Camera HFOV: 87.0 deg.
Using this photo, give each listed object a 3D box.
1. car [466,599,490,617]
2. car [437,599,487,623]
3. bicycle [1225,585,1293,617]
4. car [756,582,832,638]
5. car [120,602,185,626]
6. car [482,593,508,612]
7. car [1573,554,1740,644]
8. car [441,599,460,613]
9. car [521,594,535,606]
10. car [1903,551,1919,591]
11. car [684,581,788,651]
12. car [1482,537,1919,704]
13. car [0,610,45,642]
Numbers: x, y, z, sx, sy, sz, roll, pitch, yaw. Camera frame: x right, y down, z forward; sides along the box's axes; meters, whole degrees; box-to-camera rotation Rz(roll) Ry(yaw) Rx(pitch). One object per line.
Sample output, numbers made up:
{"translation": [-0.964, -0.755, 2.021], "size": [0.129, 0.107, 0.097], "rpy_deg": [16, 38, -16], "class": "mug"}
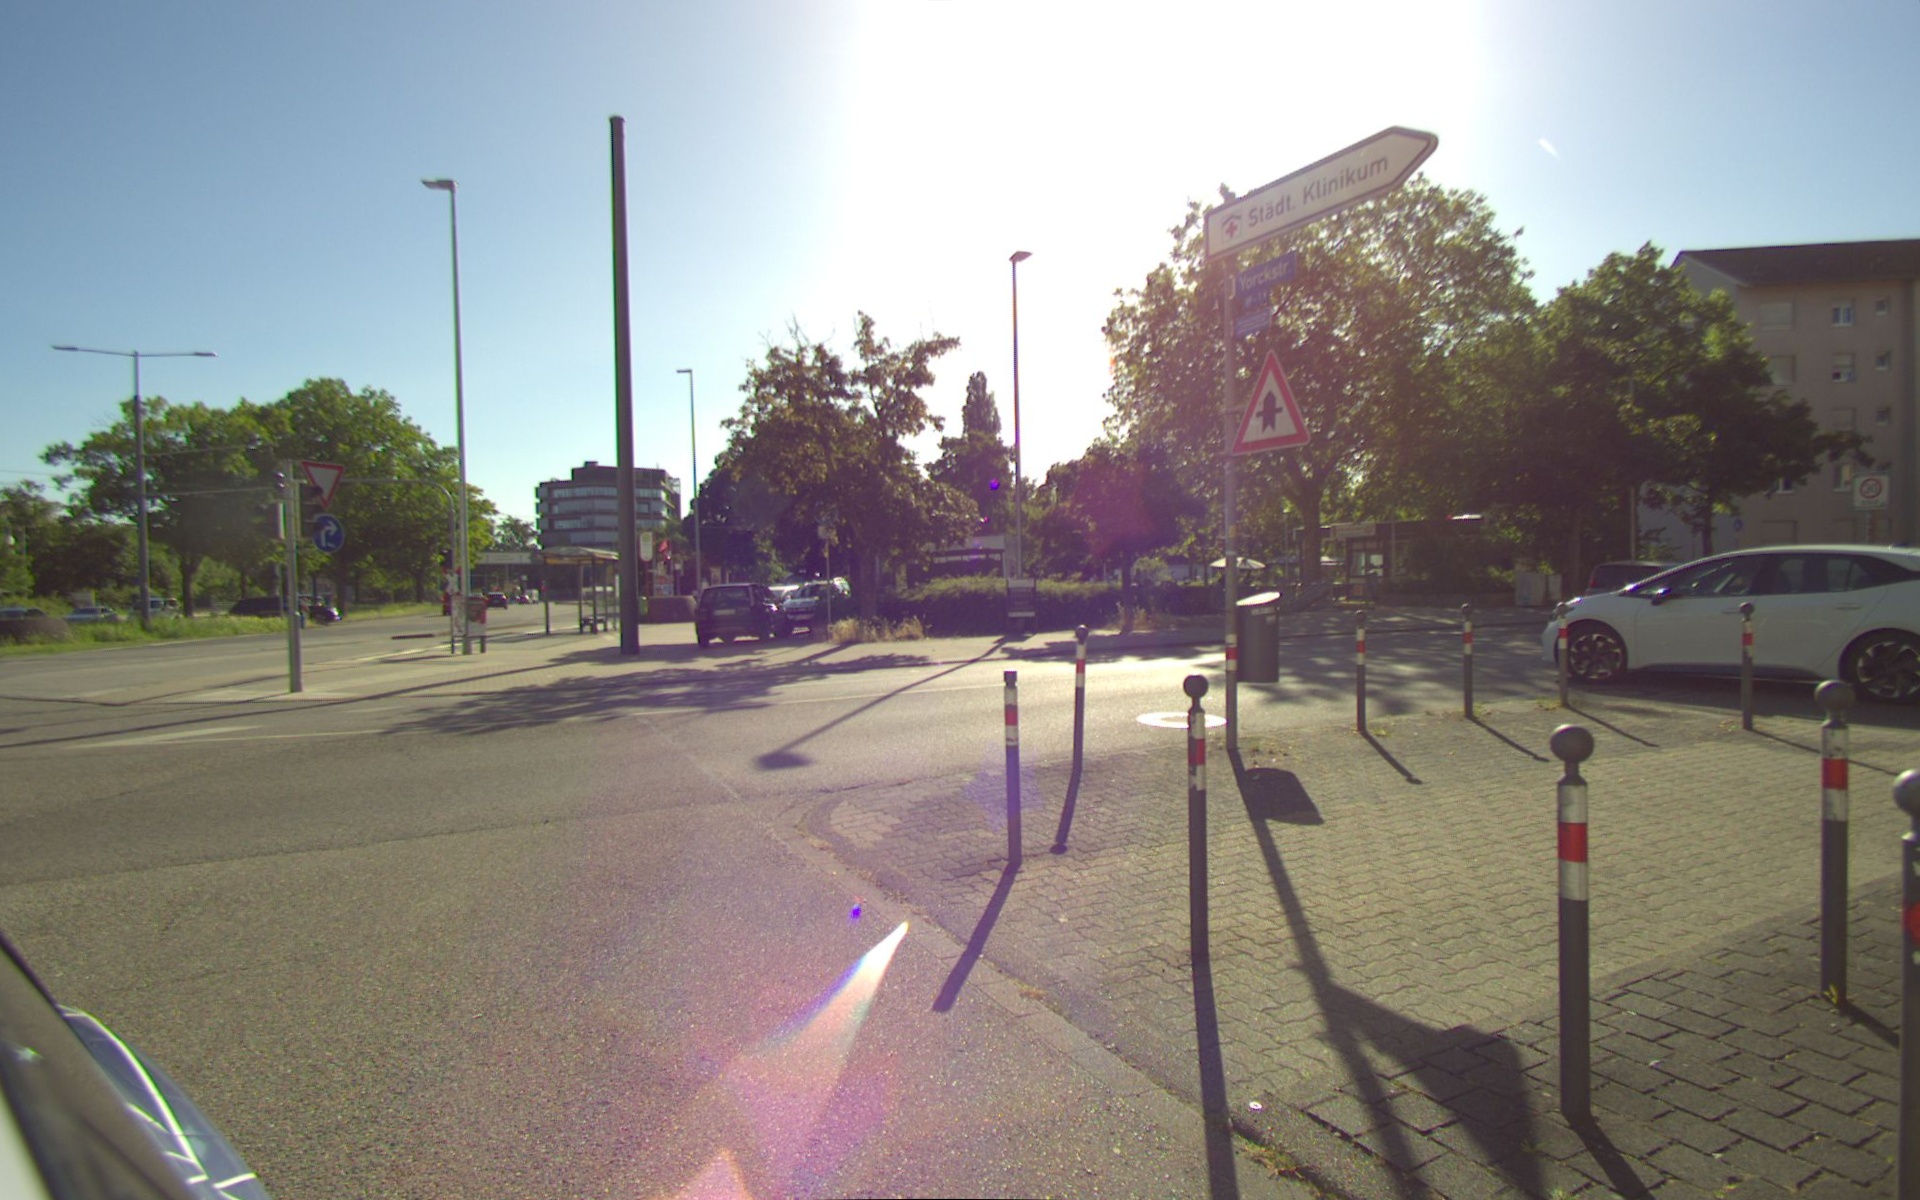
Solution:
{"translation": [-46.168, 0.733, 97.039], "size": [1.965, 1.674, 4.500], "rpy_deg": [-2, 1, -25], "class": "car"}
{"translation": [-34.253, 0.738, 69.738], "size": [1.967, 1.564, 4.496], "rpy_deg": [-2, 1, -12], "class": "car"}
{"translation": [9.547, 0.028, 32.389], "size": [0.548, 0.990, 2.319], "rpy_deg": [-1, 1, -31], "class": "bicycle"}
{"translation": [-5.132, 0.277, 31.731], "size": [1.774, 1.591, 4.001], "rpy_deg": [-1, 1, -1], "class": "car"}
{"translation": [-52.143, 0.876, 65.443], "size": [1.842, 1.466, 4.499], "rpy_deg": [-2, 1, -19], "class": "car"}
{"translation": [-40.236, 0.196, 87.612], "size": [1.965, 1.564, 4.500], "rpy_deg": [-2, 1, -25], "class": "car"}
{"translation": [13.454, -0.052, 19.514], "size": [3.204, 1.573, 1.625], "rpy_deg": [-2, 1, -35], "class": "car"}
{"translation": [-66.629, 0.787, 132.357], "size": [1.966, 1.674, 4.498], "rpy_deg": [-2, 1, -30], "class": "car"}
{"translation": [-75.493, 0.052, 176.766], "size": [1.965, 2.029, 4.013], "rpy_deg": [-1, 1, -26], "class": "car"}
{"translation": [44.817, -1.323, 45.006], "size": [2.044, 1.811, 4.415], "rpy_deg": [-1, 1, 8], "class": "car"}
{"translation": [-5.487, 0.334, 25.215], "size": [1.661, 1.519, 3.595], "rpy_deg": [-4, 1, 1], "class": "car"}
{"translation": [8.765, 0.155, 11.231], "size": [1.891, 1.530, 5.053], "rpy_deg": [-2, 1, -29], "class": "car"}
{"translation": [-46.108, 1.248, 48.409], "size": [1.842, 1.466, 4.499], "rpy_deg": [-2, 1, -19], "class": "car"}
